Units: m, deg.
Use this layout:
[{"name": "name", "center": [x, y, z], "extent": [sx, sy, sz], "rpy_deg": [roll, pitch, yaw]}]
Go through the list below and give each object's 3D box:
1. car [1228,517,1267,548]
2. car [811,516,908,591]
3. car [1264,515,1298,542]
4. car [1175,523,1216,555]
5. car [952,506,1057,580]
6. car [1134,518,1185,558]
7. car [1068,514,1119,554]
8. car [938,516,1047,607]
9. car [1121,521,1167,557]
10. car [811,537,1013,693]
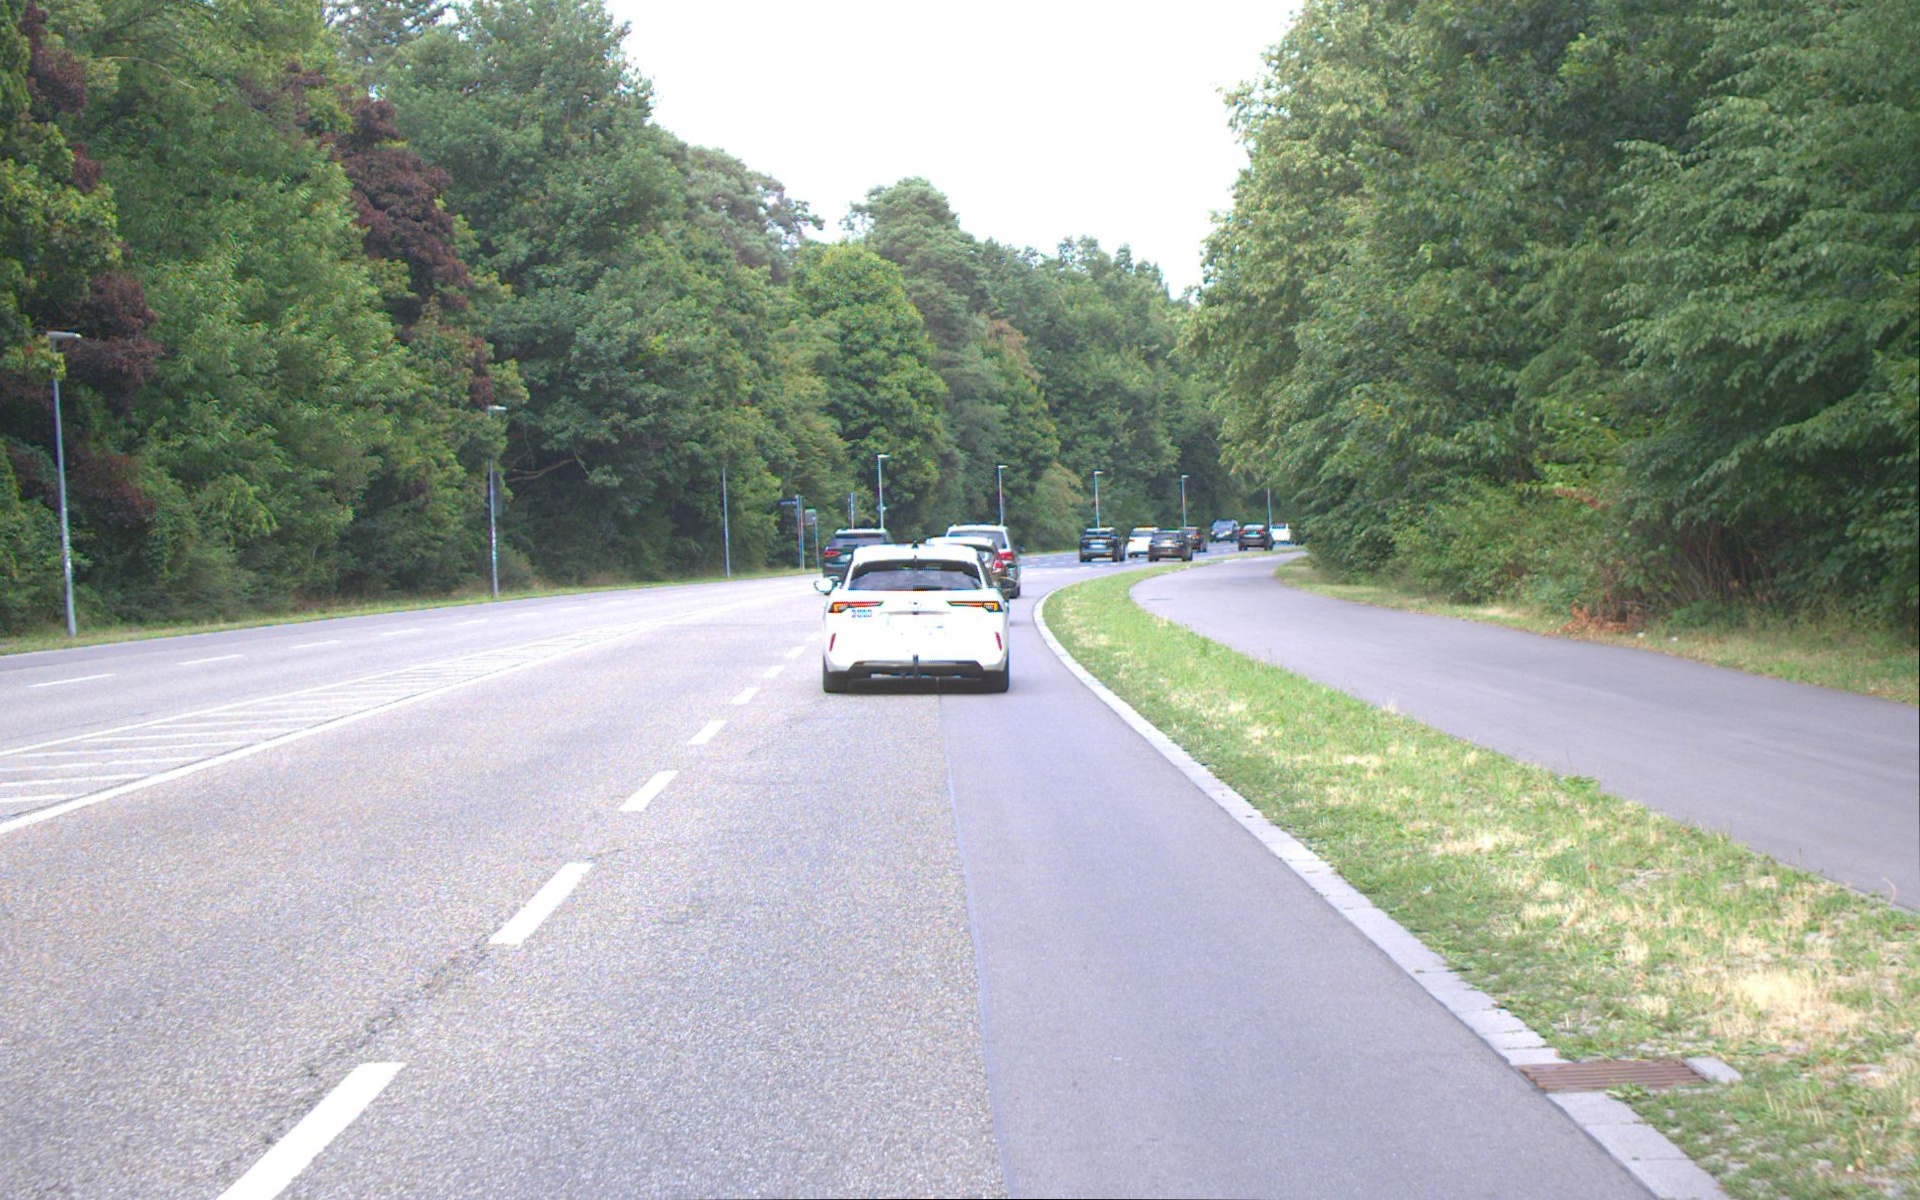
[{"name": "car", "center": [17.259, -4.043, 206.245], "extent": [1.994, 1.777, 3.998], "rpy_deg": [1, 0, 10]}, {"name": "car", "center": [-2.467, -1.141, 85.322], "extent": [1.994, 1.780, 3.999], "rpy_deg": [1, 0, 4]}, {"name": "car", "center": [23.004, -5.142, 246.433], "extent": [1.889, 1.809, 3.998], "rpy_deg": [1, 0, 12]}, {"name": "car", "center": [13.676, -3.522, 199.603], "extent": [1.994, 1.777, 3.999], "rpy_deg": [1, 0, 8]}, {"name": "car", "center": [1.061, -1.303, 79.837], "extent": [1.994, 1.601, 3.999], "rpy_deg": [1, 0, 7]}, {"name": "car", "center": [9.363, -2.879, 161.167], "extent": [1.994, 1.777, 3.998], "rpy_deg": [1, 0, 9]}, {"name": "car", "center": [6.337, -3.094, 162.574], "extent": [1.994, 1.777, 3.999], "rpy_deg": [1, 0, 8]}, {"name": "car", "center": [0.508, -0.633, 57.334], "extent": [1.635, 1.415, 4.000], "rpy_deg": [1, 0, -2]}, {"name": "car", "center": [9.693, -3.204, 180.731], "extent": [1.994, 1.777, 3.999], "rpy_deg": [1, 0, 9]}, {"name": "car", "center": [-0.499, 0.120, 33.916], "extent": [1.836, 1.405, 4.491], "rpy_deg": [1, 0, -2]}]
